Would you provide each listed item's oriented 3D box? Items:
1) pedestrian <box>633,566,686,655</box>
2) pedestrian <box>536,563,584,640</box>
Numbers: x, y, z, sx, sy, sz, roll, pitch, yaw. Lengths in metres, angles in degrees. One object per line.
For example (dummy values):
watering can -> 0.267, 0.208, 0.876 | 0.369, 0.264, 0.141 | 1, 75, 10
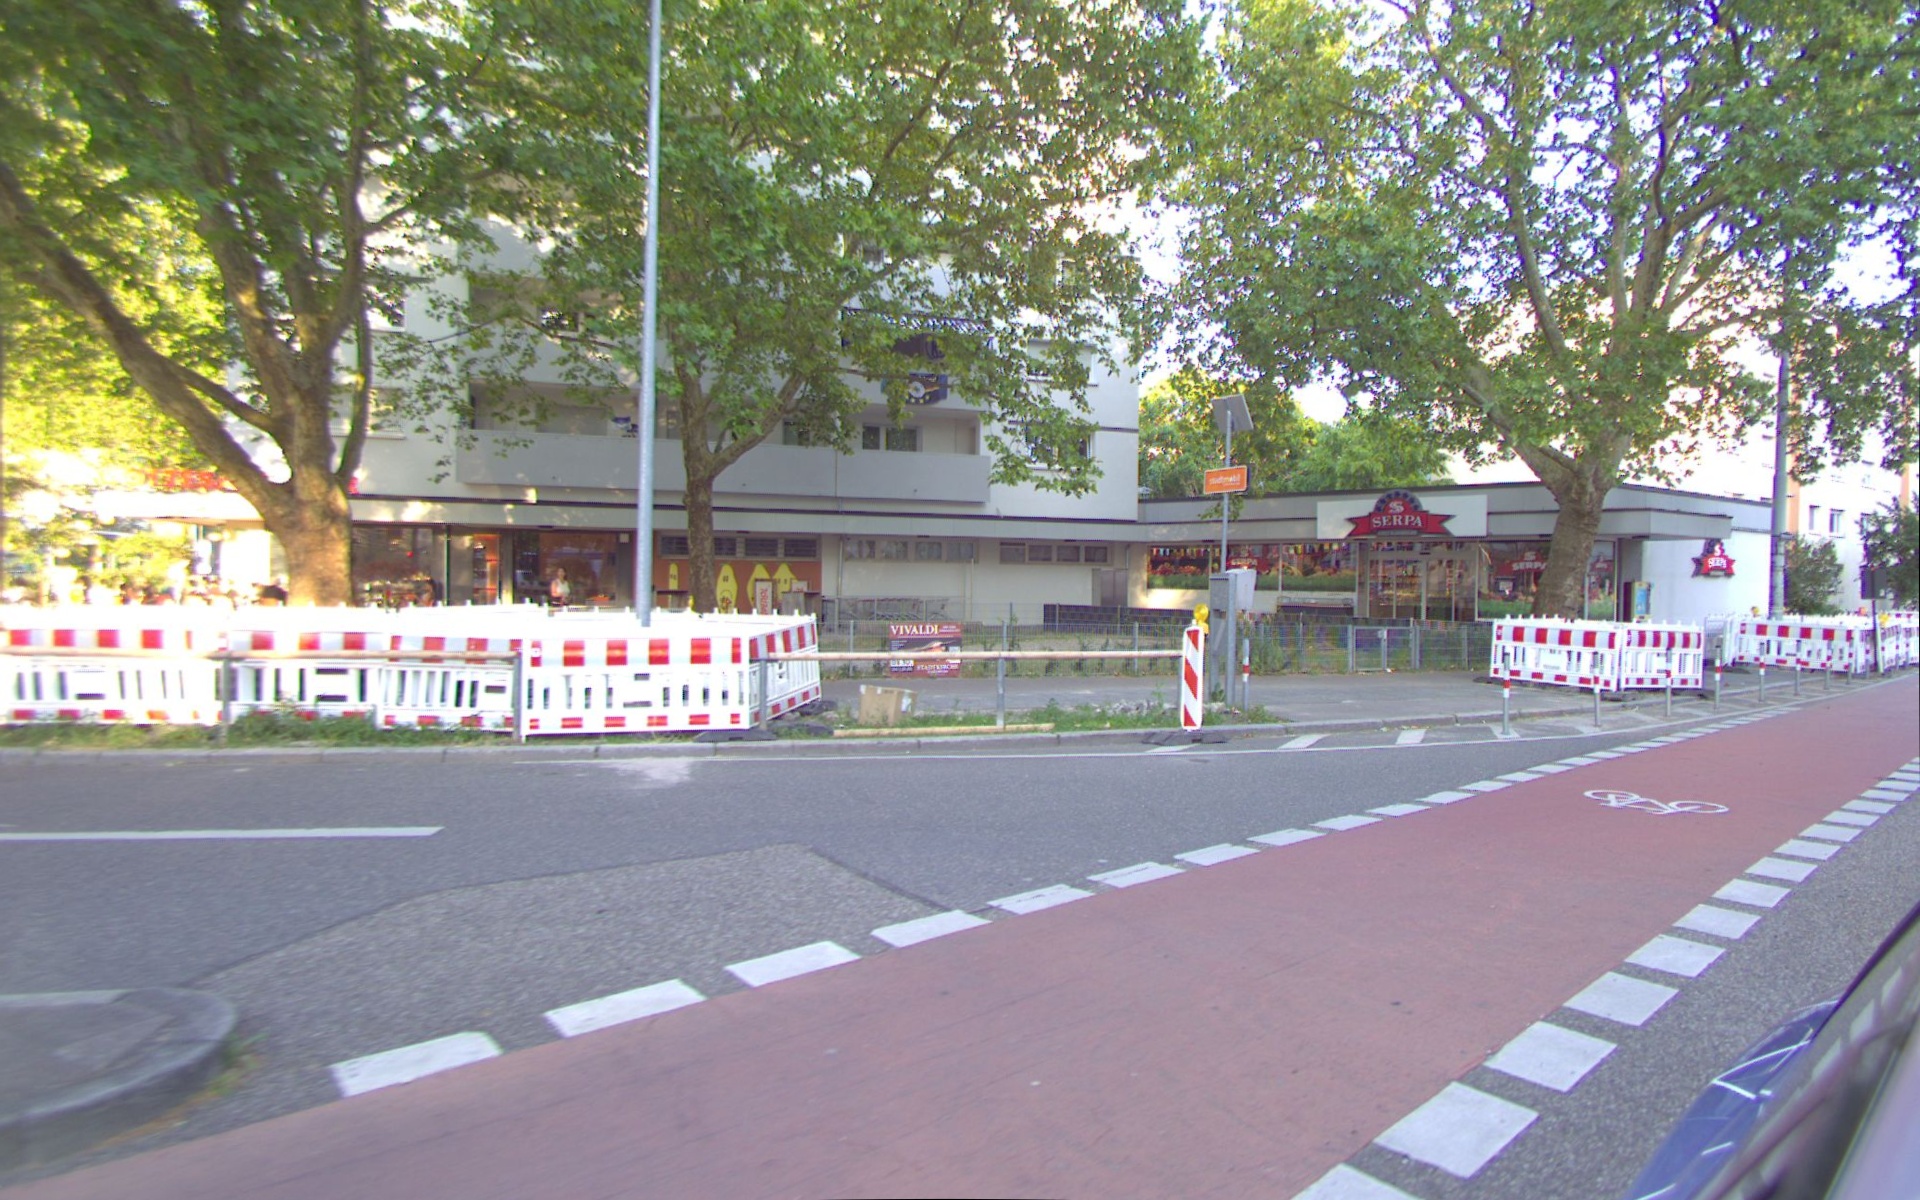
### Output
pedestrian -> -5.553, 0.190, 18.714 | 0.733, 1.608, 0.640 | 0, 0, 6
pedestrian -> -8.517, 0.022, 21.563 | 0.639, 1.608, 0.735 | 0, 0, 43
